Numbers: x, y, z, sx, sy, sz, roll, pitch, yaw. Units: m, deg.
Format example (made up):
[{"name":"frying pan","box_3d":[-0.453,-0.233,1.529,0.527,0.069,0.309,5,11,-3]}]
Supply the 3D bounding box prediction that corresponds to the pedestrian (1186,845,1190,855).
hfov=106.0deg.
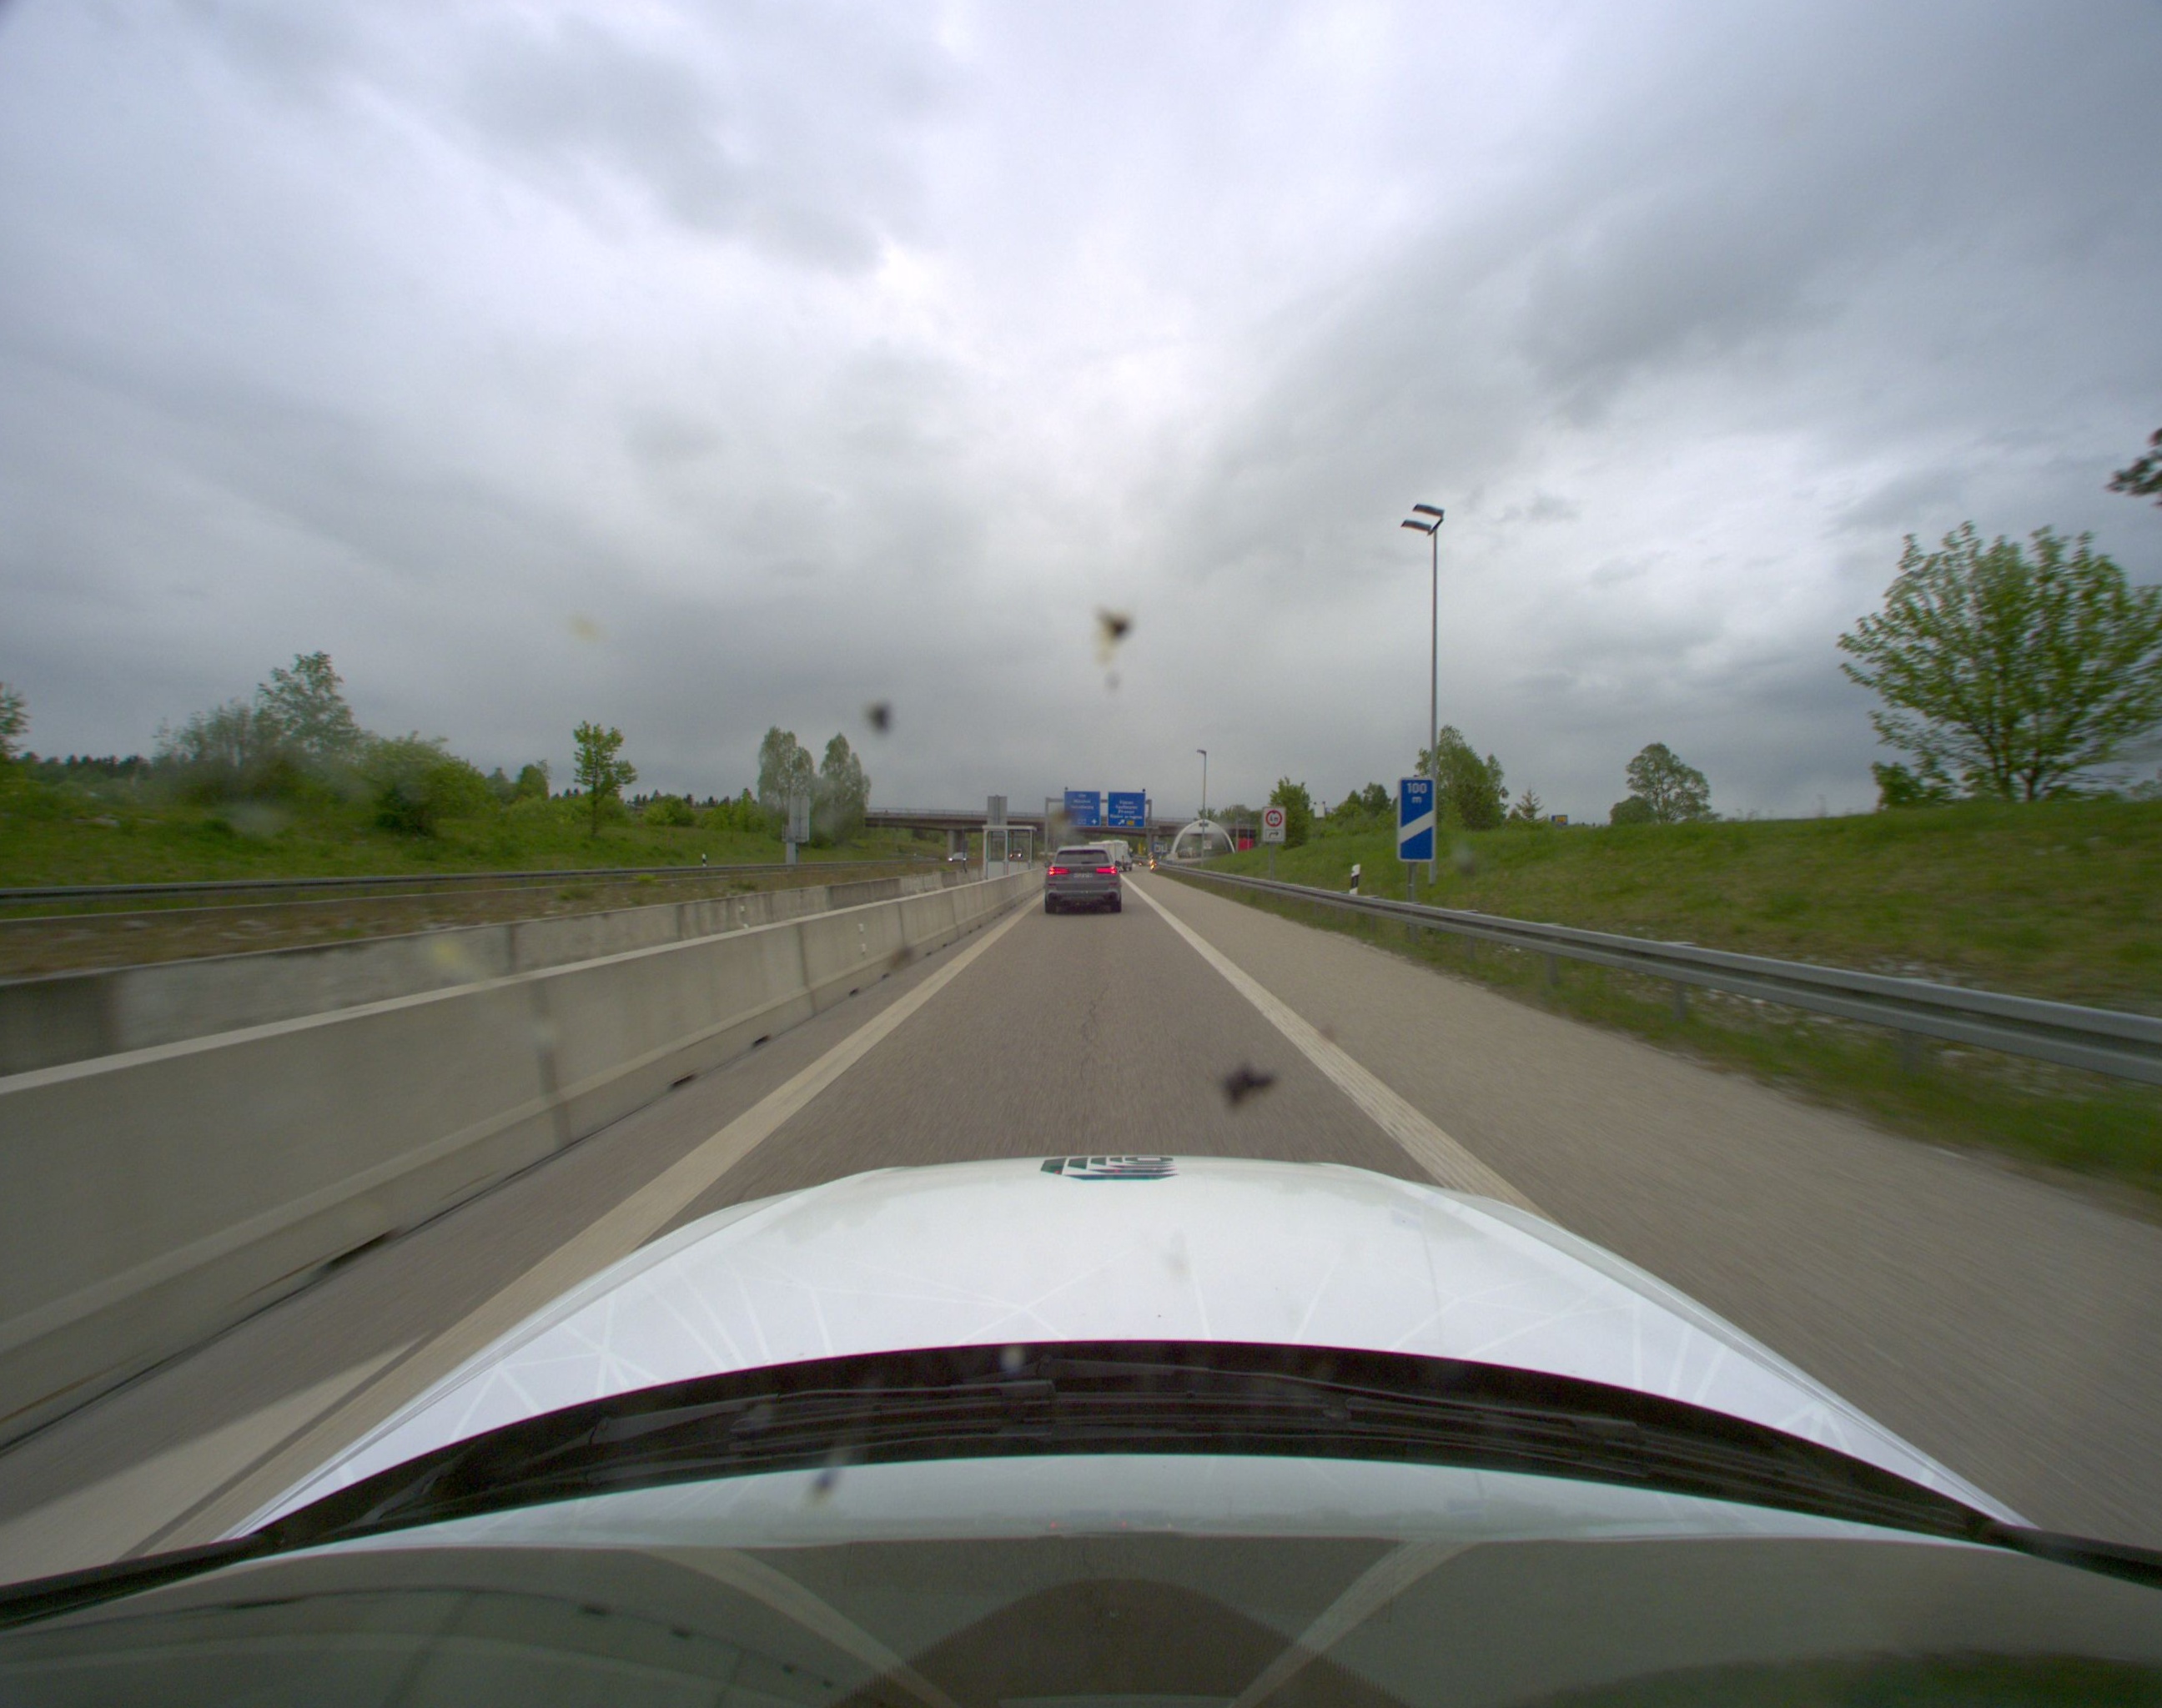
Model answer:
[{"name":"pedestrian","box_3d":[20.263,-0.797,153.725,0.716,1.775,0.691,-1,0,5]}]

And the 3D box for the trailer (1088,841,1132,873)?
[{"name":"trailer","box_3d":[2.413,0.244,66.045,2.263,2.430,6.841,-1,0,13]}]

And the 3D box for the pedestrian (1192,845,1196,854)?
[{"name":"pedestrian","box_3d":[21.431,-0.847,154.651,0.645,1.775,0.606,-1,0,3]}]

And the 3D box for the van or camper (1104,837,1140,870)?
[{"name":"van or camper","box_3d":[3.679,-0.033,72.311,2.142,2.763,5.892,-1,0,13]}]

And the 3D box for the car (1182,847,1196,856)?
[{"name":"car","box_3d":[25.495,-0.656,192.943,1.996,2.013,3.981,-1,0,-14]}]

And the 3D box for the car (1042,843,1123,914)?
[{"name":"car","box_3d":[0.089,0.607,22.068,1.986,1.719,4.001,-1,0,1]}]

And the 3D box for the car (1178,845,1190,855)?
[{"name":"car","box_3d":[19.160,-0.717,151.472,1.984,1.772,3.771,-1,0,5]}]

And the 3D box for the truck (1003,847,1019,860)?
[{"name":"truck","box_3d":[-13.093,-0.087,152.493,2.349,2.479,5.989,0,0,1]}]

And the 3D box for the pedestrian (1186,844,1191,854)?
[{"name":"pedestrian","box_3d":[20.409,-0.912,154.688,0.716,1.945,0.691,-1,0,5]}]

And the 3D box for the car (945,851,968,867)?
[{"name":"car","box_3d":[-13.072,0.496,85.773,1.696,1.575,4.178,0,0,1]}]
